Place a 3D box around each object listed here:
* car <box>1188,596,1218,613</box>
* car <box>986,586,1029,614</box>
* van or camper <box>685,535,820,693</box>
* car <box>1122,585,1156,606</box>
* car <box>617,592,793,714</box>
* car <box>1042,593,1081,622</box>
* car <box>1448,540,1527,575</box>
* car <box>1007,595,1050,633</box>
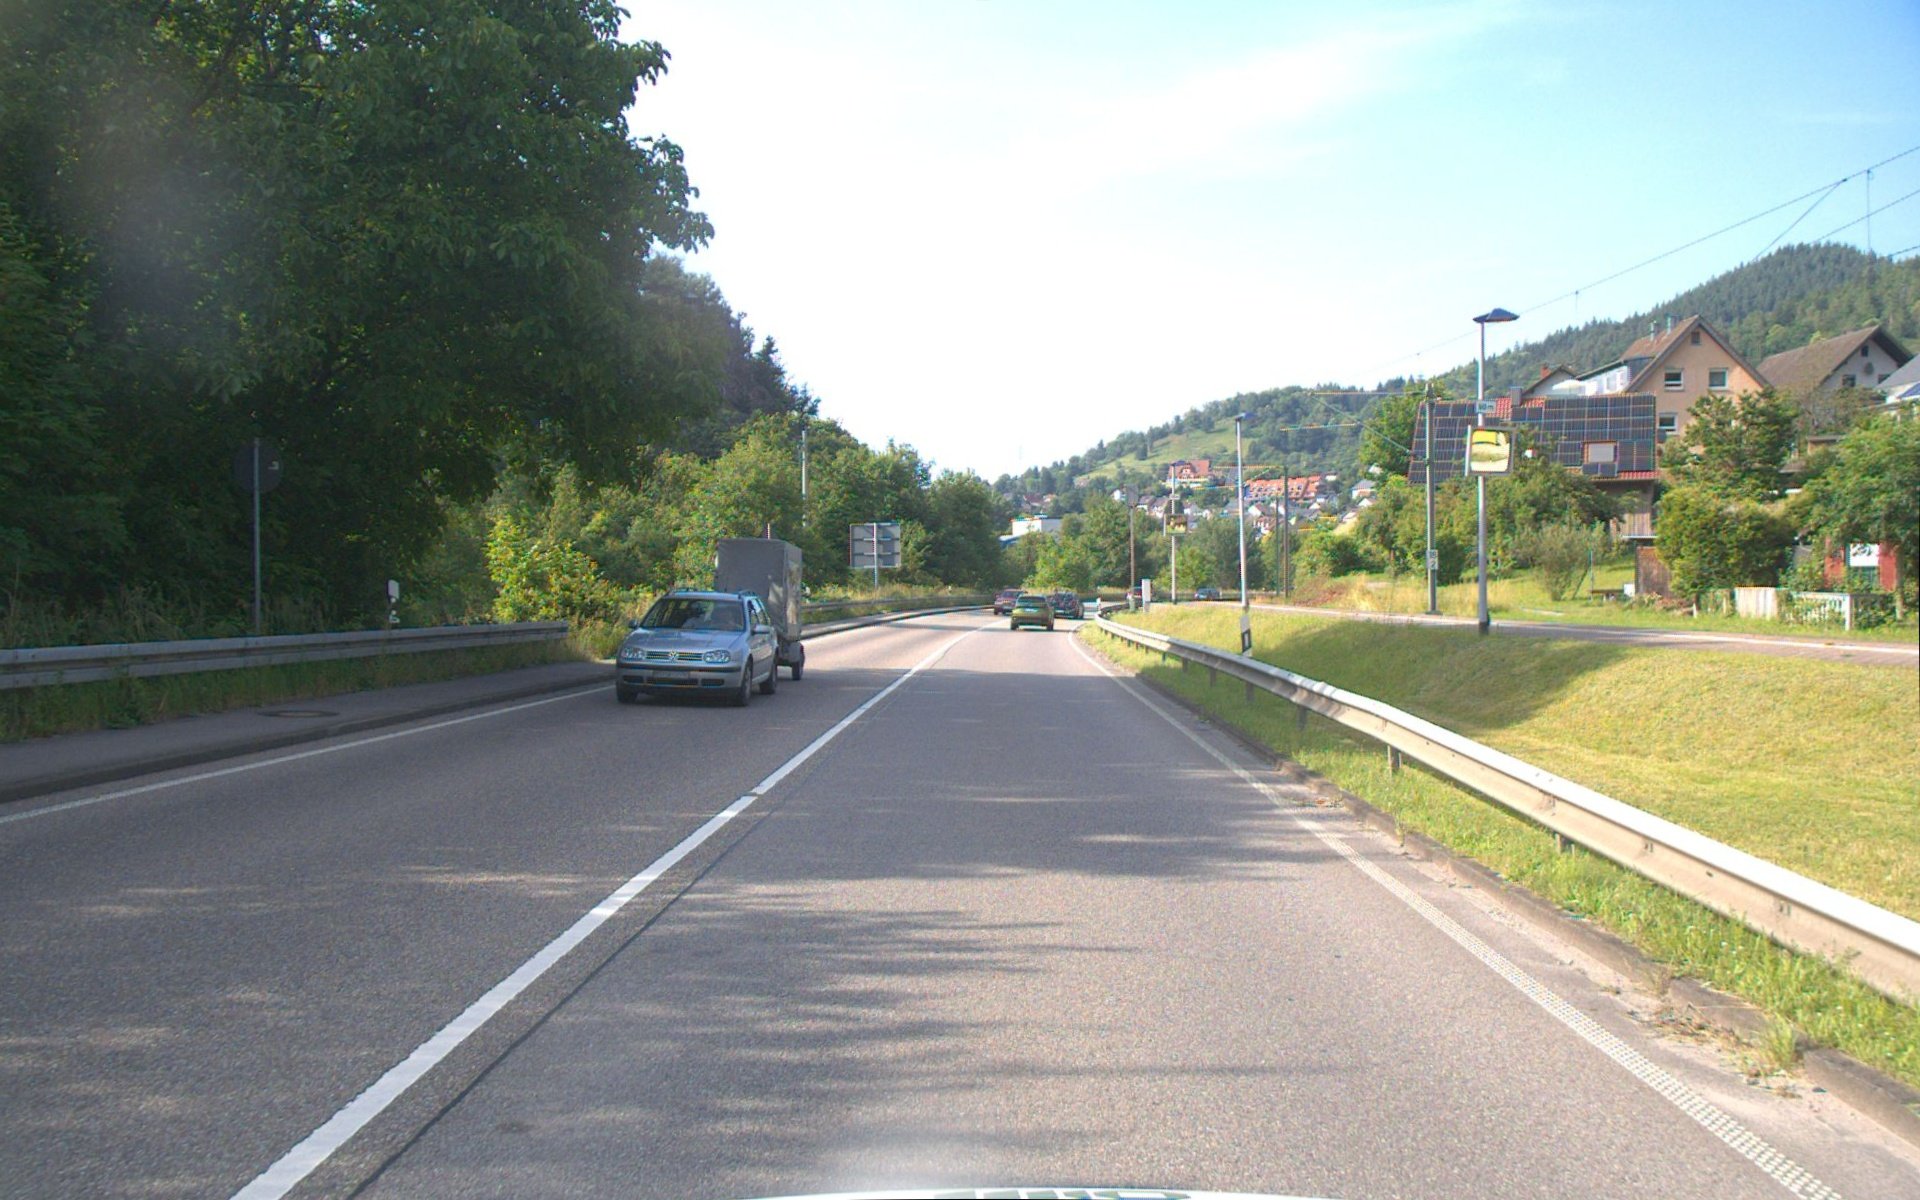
[{"bbox_3d":[21.258,0.389,144.850,1.771,1.433,3.773,-1,0,21],"label":"car"},{"bbox_3d":[2.721,-0.014,93.418,1.802,1.495,4.948,2,1,8],"label":"car"},{"bbox_3d":[-3.357,0.195,27.377,1.569,2.369,4.060,2,0,1],"label":"van or camper"},{"bbox_3d":[13.230,-0.355,121.831,1.768,1.478,3.649,-1,0,17],"label":"car"},{"bbox_3d":[-3.432,0.652,23.023,1.614,1.461,4.606,2,0,1],"label":"car"},{"bbox_3d":[5.605,0.408,91.045,1.801,1.485,3.716,-2,0,8],"label":"car"},{"bbox_3d":[28.004,-2.255,87.905,3.903,1.713,2.001,-1,0,17],"label":"car"},{"bbox_3d":[2.864,0.548,68.991,1.692,1.482,3.412,-2,0,3],"label":"car"}]
